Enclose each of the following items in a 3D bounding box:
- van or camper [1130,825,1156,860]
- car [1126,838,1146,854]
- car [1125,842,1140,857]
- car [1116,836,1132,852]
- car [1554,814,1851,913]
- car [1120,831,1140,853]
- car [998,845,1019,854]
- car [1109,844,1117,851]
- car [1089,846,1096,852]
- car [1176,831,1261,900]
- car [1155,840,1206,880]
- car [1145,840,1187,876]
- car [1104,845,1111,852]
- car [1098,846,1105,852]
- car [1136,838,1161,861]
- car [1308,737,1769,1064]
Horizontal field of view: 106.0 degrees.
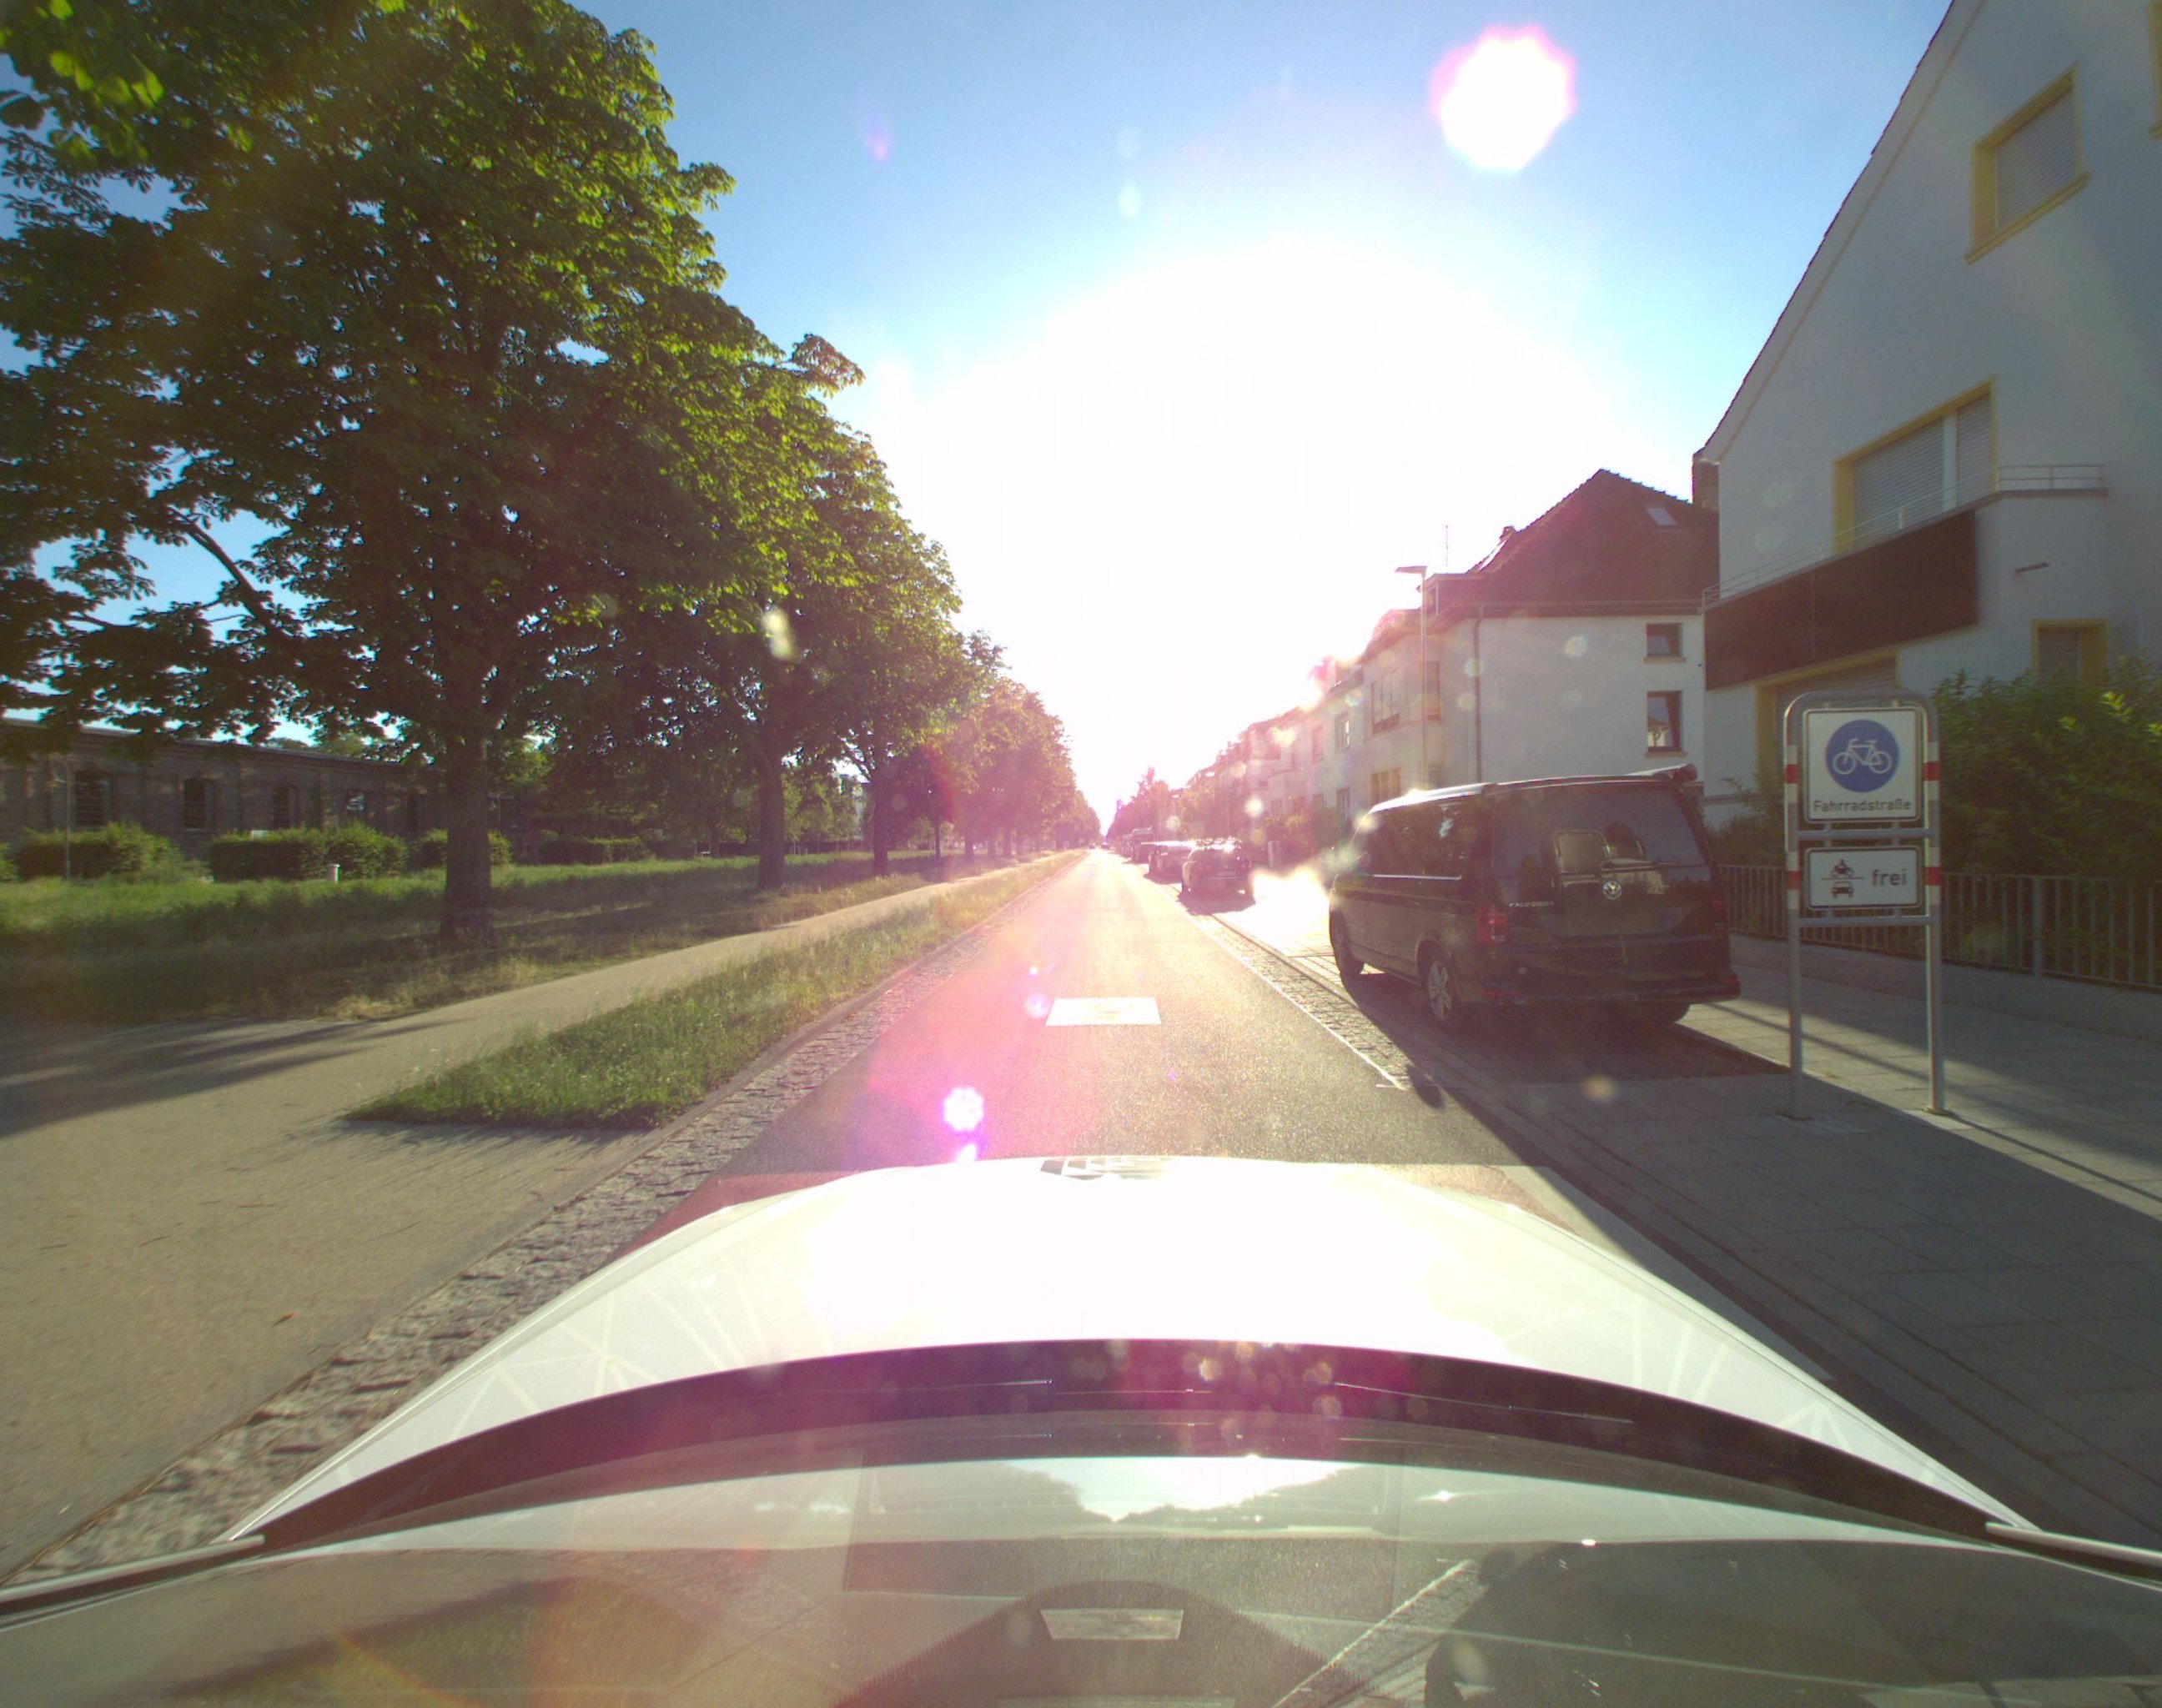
[{"bbox_3d":[5.238,-0.954,69.328,1.936,2.777,5.942,0,0,2],"label":"van or camper"},{"bbox_3d":[5.908,-0.843,87.859,1.831,1.635,4.131,-2,1,0],"label":"car"},{"bbox_3d":[5.870,-0.551,93.208,1.643,1.530,3.854,-2,1,3],"label":"car"},{"bbox_3d":[6.006,-1.451,114.506,2.118,2.067,5.191,-2,1,2],"label":"car"},{"bbox_3d":[11.419,0.158,15.167,4.206,1.726,1.852,0,0,-2],"label":"car"},{"bbox_3d":[5.958,-1.472,99.536,2.120,2.532,5.188,-2,1,0],"label":"car"},{"bbox_3d":[-15.375,-0.940,172.962,4.342,1.764,1.995,0,0,-7],"label":"car"},{"bbox_3d":[7.409,-1.529,187.181,1.643,1.530,3.854,-2,1,3],"label":"car"},{"bbox_3d":[3.220,-1.467,229.325,1.856,1.597,3.871,0,0,1],"label":"car"},{"bbox_3d":[3.958,0.262,24.167,1.787,1.771,4.474,-3,1,1],"label":"car"},{"bbox_3d":[4.341,0.220,35.910,1.712,1.574,4.211,-3,1,1],"label":"car"},{"bbox_3d":[4.278,0.136,41.466,1.826,1.685,4.417,1,2,2],"label":"car"},{"bbox_3d":[6.723,-1.346,205.551,1.856,1.597,3.894,0,1,1],"label":"car"},{"bbox_3d":[6.000,-1.482,236.496,1.856,1.597,3.871,0,0,1],"label":"car"},{"bbox_3d":[5.140,-0.371,62.654,1.657,1.592,4.088,-3,1,2],"label":"car"},{"bbox_3d":[3.788,0.271,7.961,1.898,2.131,4.818,-3,1,3],"label":"car"}]
